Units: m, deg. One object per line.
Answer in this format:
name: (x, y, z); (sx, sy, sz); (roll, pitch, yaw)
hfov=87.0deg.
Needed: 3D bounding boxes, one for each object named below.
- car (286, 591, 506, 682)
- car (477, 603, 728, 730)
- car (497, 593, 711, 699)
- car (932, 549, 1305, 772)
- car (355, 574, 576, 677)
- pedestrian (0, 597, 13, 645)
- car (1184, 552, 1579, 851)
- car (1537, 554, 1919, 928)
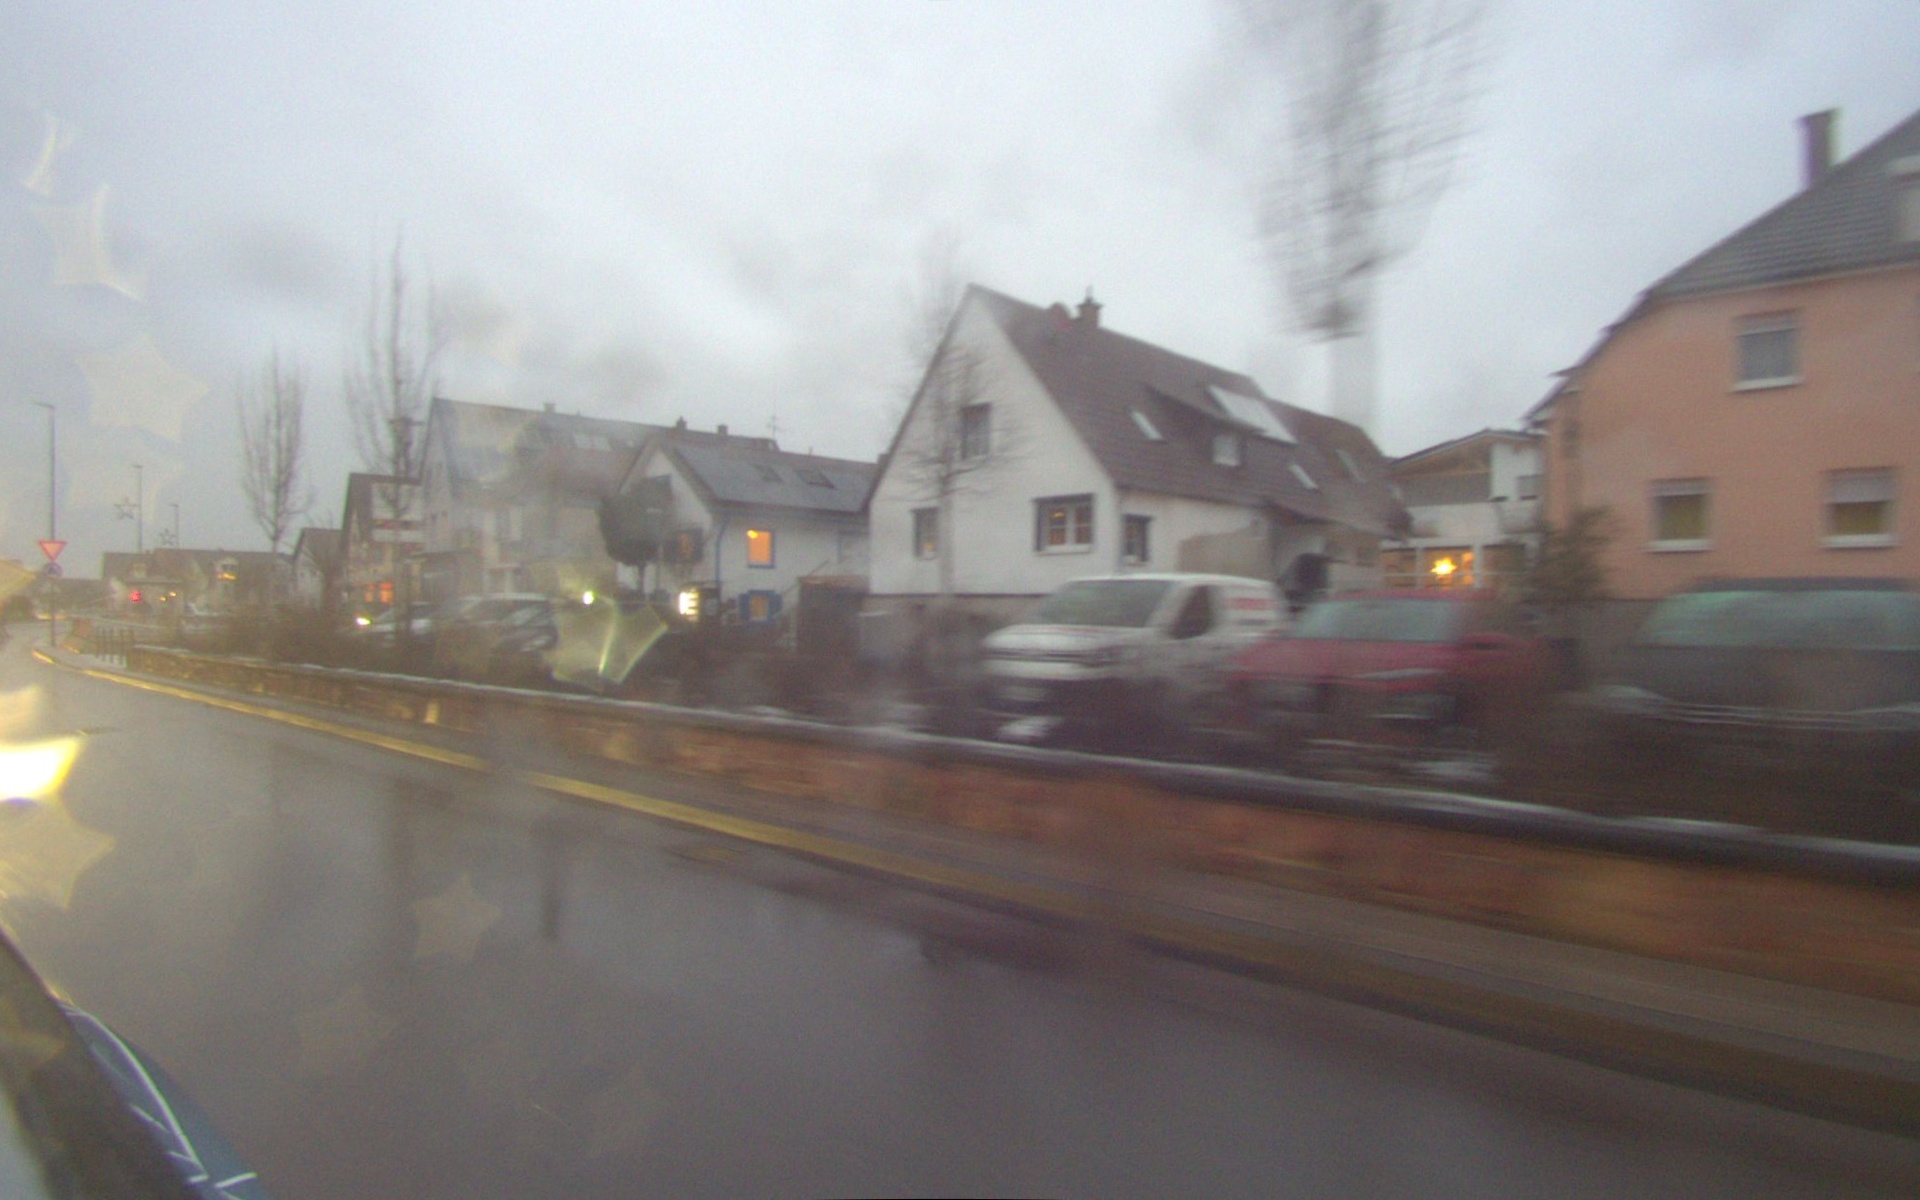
car: (-12.752, 0.809, 23.066); (1.974, 1.863, 3.946); (-1, -2, 40)
car: (-6.153, 1.143, 17.752); (1.748, 1.966, 3.756); (-2, -4, 40)
car: (-7.246, 0.966, 20.863); (1.748, 1.966, 3.756); (-2, -4, 40)
car: (1.839, 0.549, 10.506); (1.843, 1.815, 4.368); (-1, -2, 40)
car: (-10.299, 0.603, 21.302); (1.748, 1.966, 3.756); (-2, -4, 40)
pedestrian: (-41.525, 0.910, 43.828); (0.547, 2.047, 0.658); (-2, -1, 38)
car: (3.828, 0.695, 8.694); (1.867, 1.881, 4.456); (-1, -2, 40)
car: (5.743, 0.762, 7.261); (1.999, 1.881, 4.456); (-1, -2, 40)
